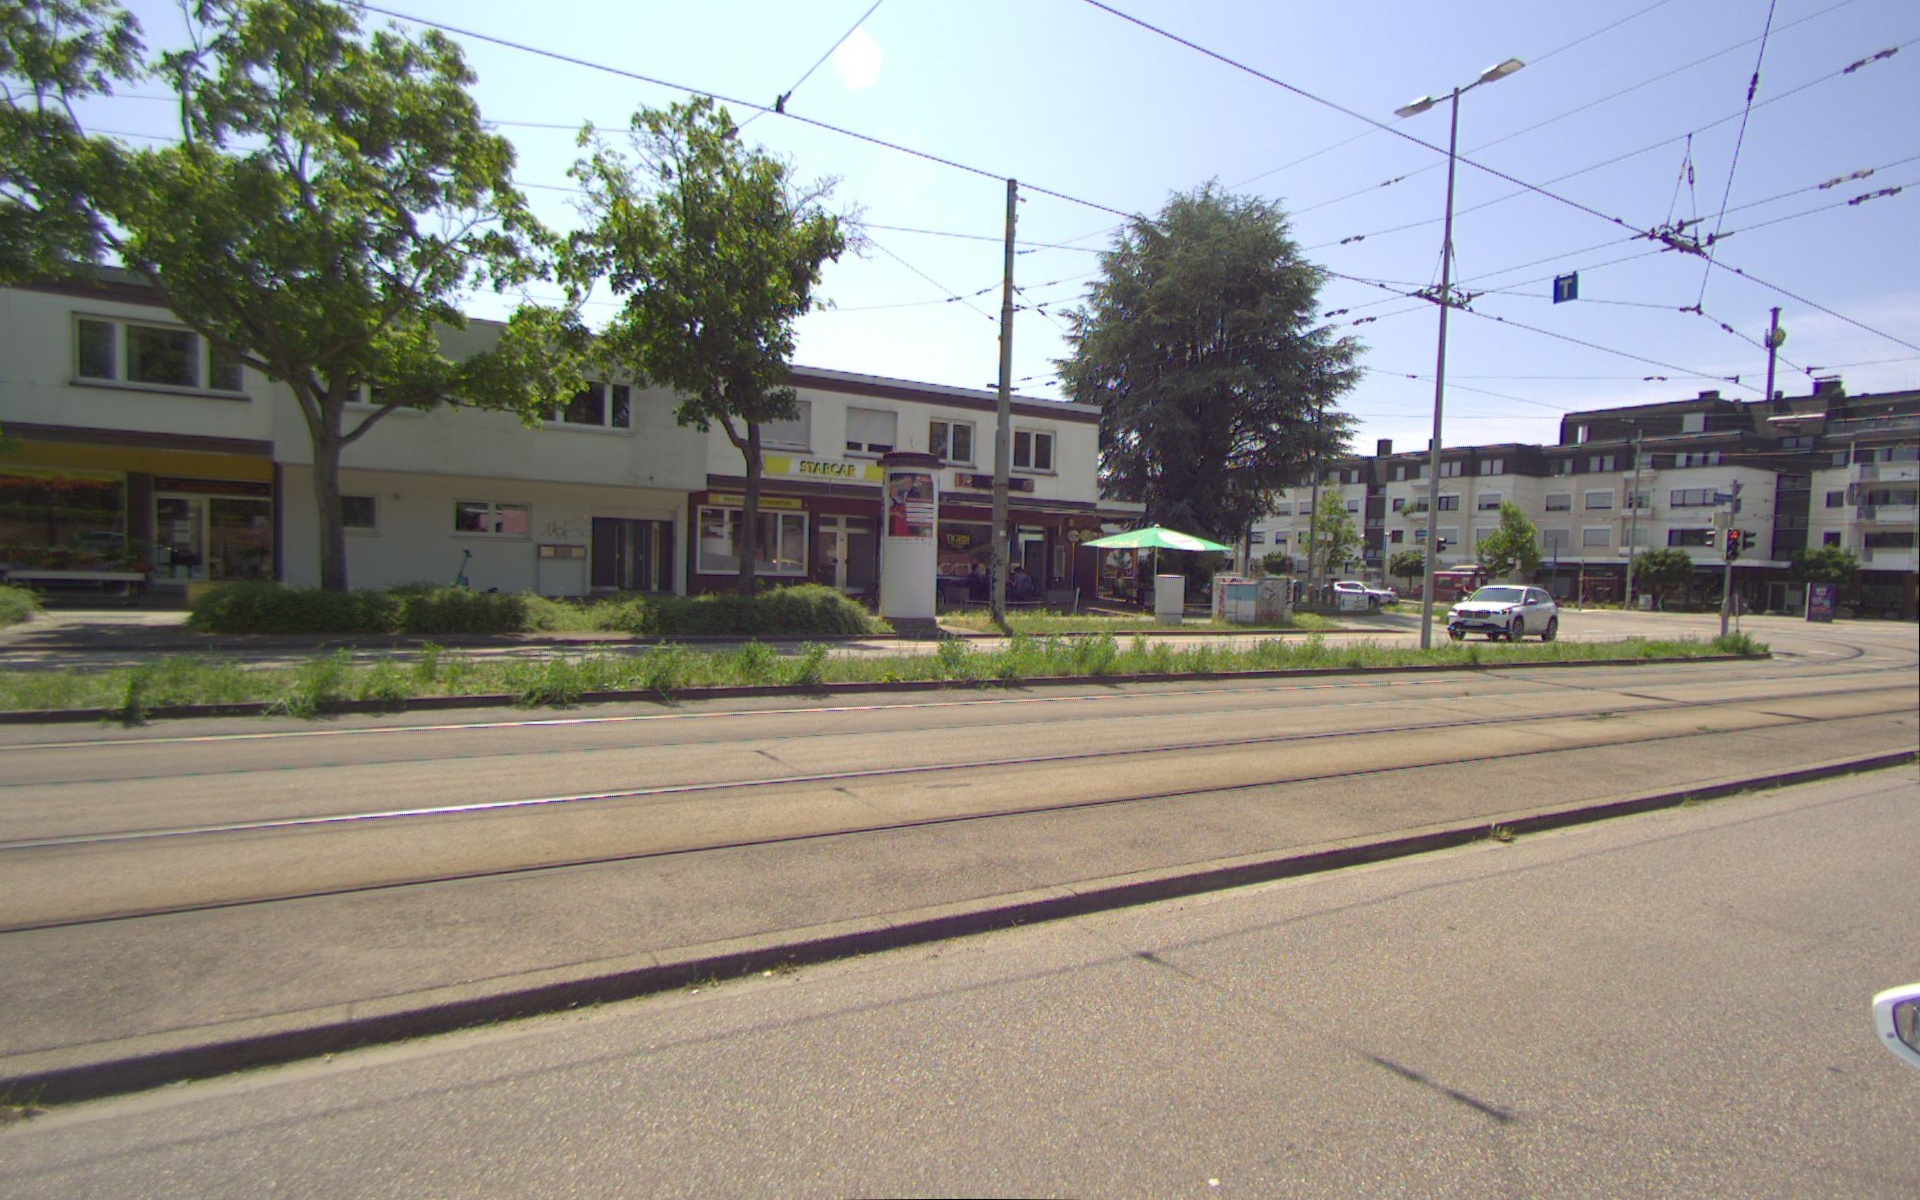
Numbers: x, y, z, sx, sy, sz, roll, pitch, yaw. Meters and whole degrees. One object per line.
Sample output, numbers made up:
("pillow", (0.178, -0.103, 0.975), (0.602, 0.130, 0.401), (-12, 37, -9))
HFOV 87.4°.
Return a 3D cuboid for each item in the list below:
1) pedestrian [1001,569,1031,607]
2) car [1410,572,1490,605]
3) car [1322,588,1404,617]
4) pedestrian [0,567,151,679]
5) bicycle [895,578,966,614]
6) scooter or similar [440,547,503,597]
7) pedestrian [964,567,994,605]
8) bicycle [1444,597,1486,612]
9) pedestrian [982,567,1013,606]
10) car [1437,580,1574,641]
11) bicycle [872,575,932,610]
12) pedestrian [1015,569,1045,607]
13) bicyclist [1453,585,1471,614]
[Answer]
("pedestrian", (1.954, -0.424, 35.224), (0.832, 1.285, 0.586), (1, 1, -30))
("car", (37.159, -0.861, 76.283), (2.219, 2.372, 5.038), (2, 0, -31))
("car", (23.934, 0.142, 59.701), (1.923, 1.605, 4.105), (2, 0, -39))
("pedestrian", (-18.161, 0.407, 19.167), (3.954, 2.040, 1.983), (2, 0, -31))
("bicycle", (-0.846, -0.117, 29.315), (2.006, 0.992, 0.607), (2, 0, -31))
("scooter or similar", (-12.446, -0.713, 25.615), (1.321, 1.207, 0.455), (2, 1, -11))
("pedestrian", (0.650, -0.478, 34.541), (0.832, 1.285, 0.586), (1, 1, -30))
("bicycle", (27.593, 0.236, 54.892), (1.956, 0.794, 0.464), (2, 1, 39))
("pedestrian", (1.281, -0.444, 34.067), (0.832, 1.285, 0.586), (1, 1, -30))
("car", (15.960, 0.328, 29.312), (4.525, 1.632, 1.712), (2, 0, -36))
("bicycle", (-1.756, -0.214, 30.315), (1.738, 0.992, 0.536), (2, 0, -31))
("pedestrian", (2.416, -0.401, 34.786), (0.832, 1.285, 0.586), (1, 1, -30))
("bicyclist", (27.429, -0.030, 54.908), (0.741, 1.521, 0.480), (2, 1, 39))
